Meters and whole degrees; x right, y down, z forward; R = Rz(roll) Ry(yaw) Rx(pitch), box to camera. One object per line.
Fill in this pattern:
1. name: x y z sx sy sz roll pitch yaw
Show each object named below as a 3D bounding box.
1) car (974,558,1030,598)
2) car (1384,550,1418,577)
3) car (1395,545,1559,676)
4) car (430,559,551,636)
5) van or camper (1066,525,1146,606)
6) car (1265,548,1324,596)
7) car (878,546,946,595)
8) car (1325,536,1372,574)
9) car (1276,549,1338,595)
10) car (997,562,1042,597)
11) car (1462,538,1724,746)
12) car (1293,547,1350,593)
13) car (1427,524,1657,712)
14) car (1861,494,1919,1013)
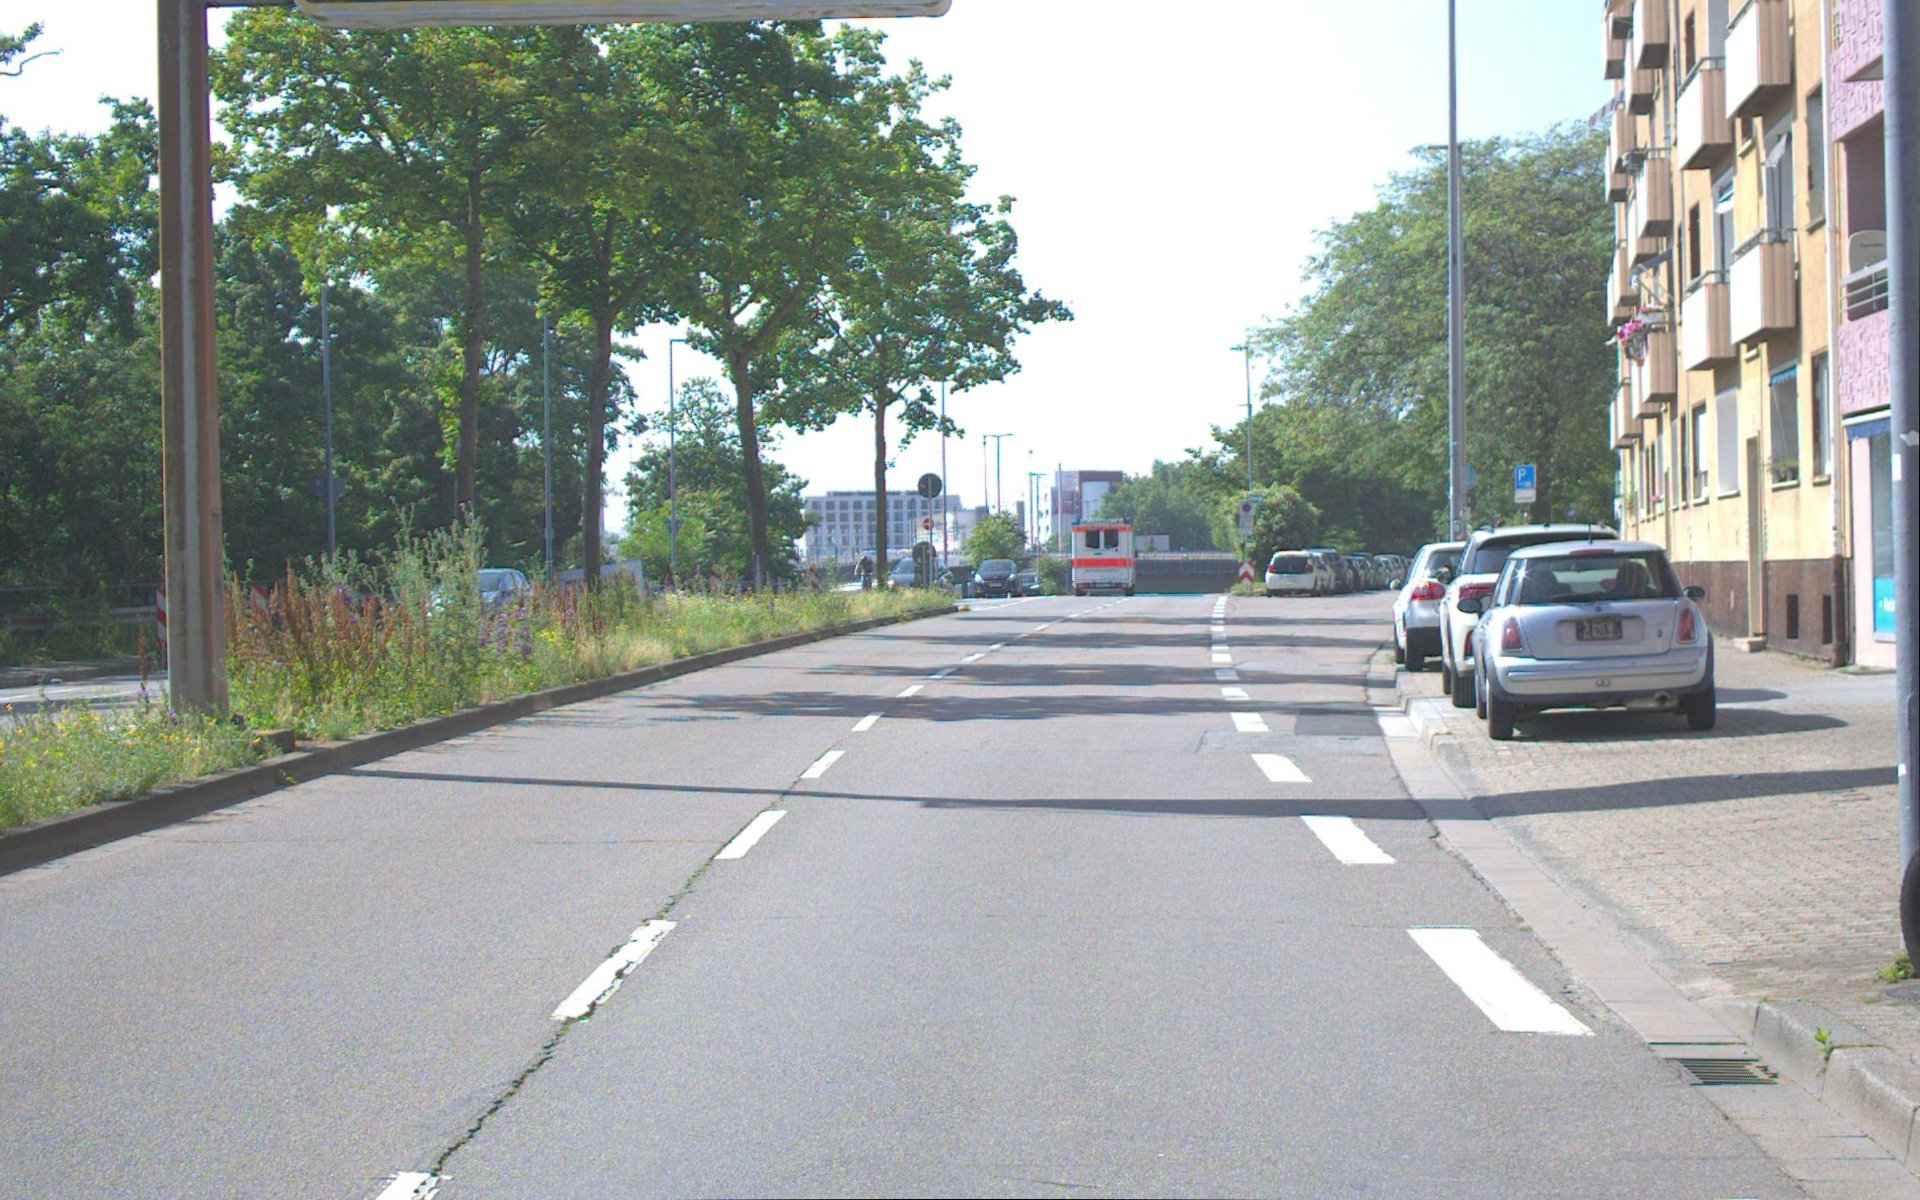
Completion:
1. car: 1.634 -0.875 133.077 1.764 1.469 4.084 -1 1 6
2. car: 25.147 -2.078 196.059 1.664 1.504 4.007 1 1 10
3. car: 6.170 0.097 41.346 1.757 1.501 4.127 0 1 6
4. car: -9.678 -0.072 71.071 1.645 1.411 3.970 -4 1 3
5. van or camper: 5.236 -1.234 122.455 2.297 2.780 5.569 0 1 8
6. car: 10.944 -0.912 112.305 1.620 1.500 3.460 -1 1 10
7. car: -1.528 -0.950 110.165 1.798 1.525 3.999 -1 1 4
8. car: 16.240 -1.886 143.473 1.664 1.506 3.788 1 1 10
9. car: 11.806 -0.975 116.844 1.722 1.500 4.130 -1 1 10
10. car: 3.062 -1.051 175.407 1.994 1.728 4.729 -1 1 5
11. car: 4.788 0.274 26.369 1.678 1.404 3.430 -3 1 7
12. car: 12.861 -1.088 122.247 1.772 1.574 4.185 -1 1 9
13. car: 5.197 0.119 31.160 1.736 1.536 4.353 -2 1 6
14. car: 3.545 0.421 8.253 1.785 1.477 4.000 -2 1 2
